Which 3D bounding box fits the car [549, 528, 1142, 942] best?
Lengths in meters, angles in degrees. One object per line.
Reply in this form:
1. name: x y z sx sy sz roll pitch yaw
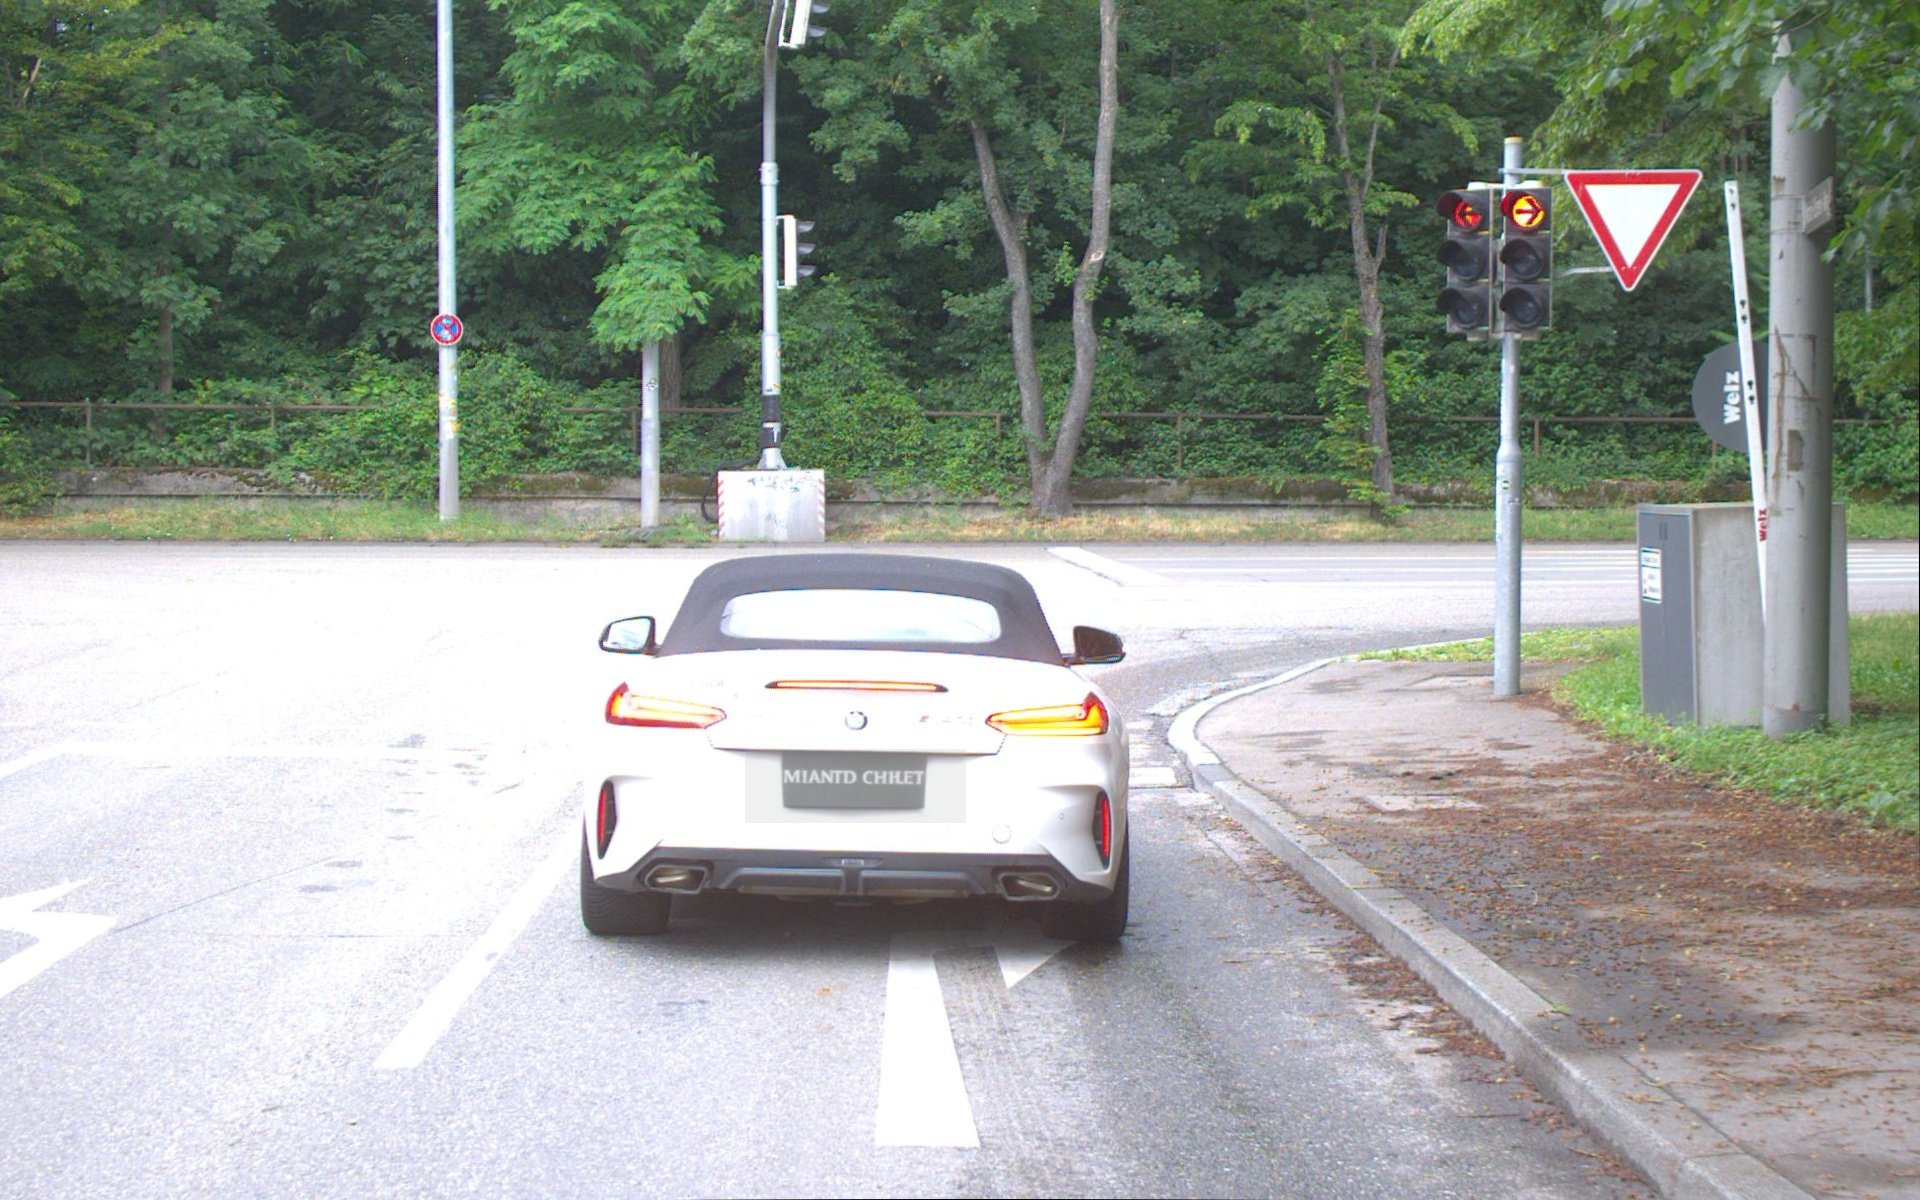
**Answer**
1. car: -0.471 0.422 12.767 1.827 1.253 4.000 1 0 -3
